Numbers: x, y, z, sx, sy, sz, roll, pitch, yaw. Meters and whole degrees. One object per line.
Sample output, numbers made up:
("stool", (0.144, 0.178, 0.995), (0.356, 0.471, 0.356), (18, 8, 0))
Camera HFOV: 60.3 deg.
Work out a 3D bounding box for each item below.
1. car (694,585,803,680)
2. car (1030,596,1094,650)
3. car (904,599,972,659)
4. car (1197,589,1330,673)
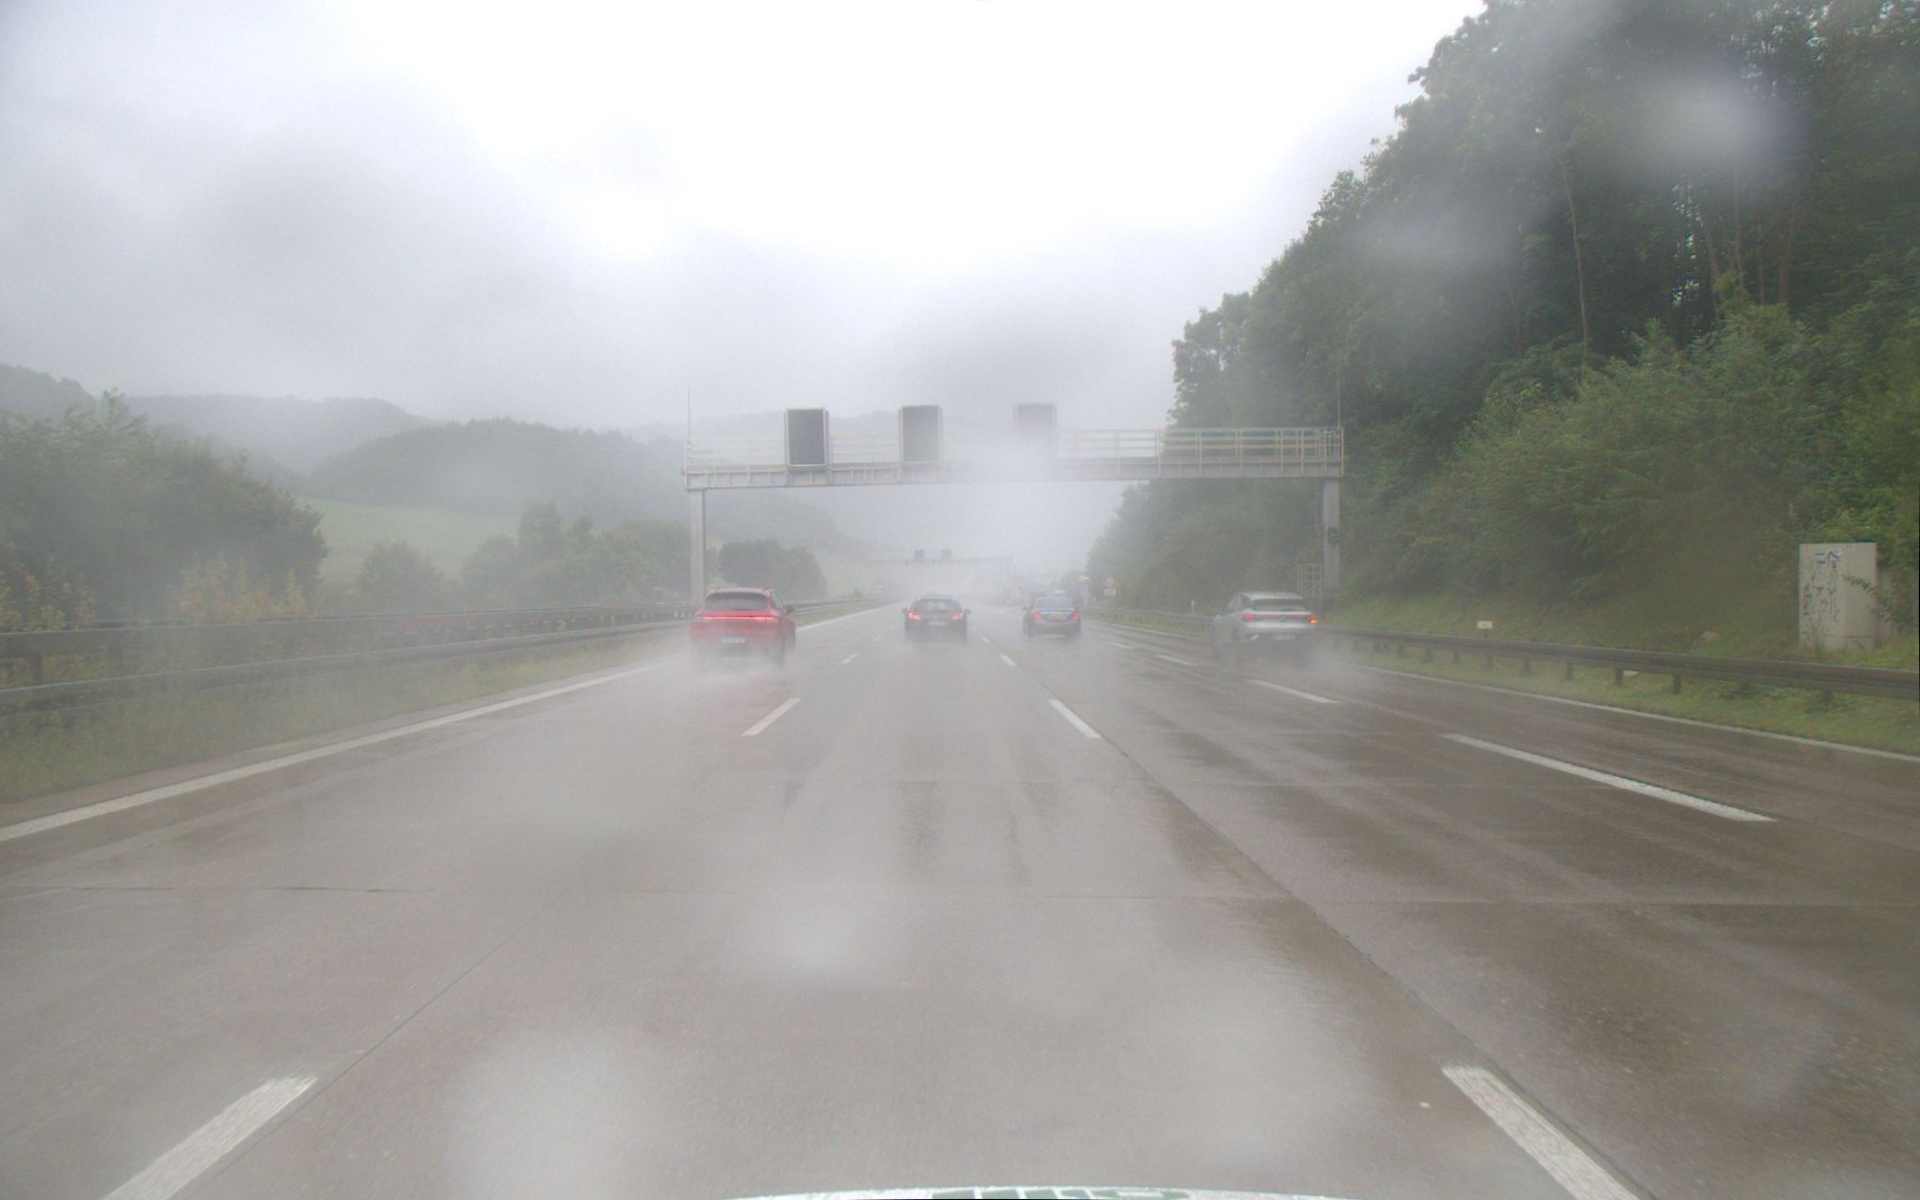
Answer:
("car", (-4.336, 0.628, 34.455), (1.846, 1.847, 3.999), (0, 0, -2))
("car", (3.538, 0.769, 58.099), (1.931, 1.791, 3.999), (0, 0, -1))
("car", (-0.634, 0.798, 47.037), (1.822, 1.617, 3.999), (1, 0, -1))
("car", (6.948, 0.671, 38.491), (1.953, 1.781, 5.661), (1, 0, -1))
